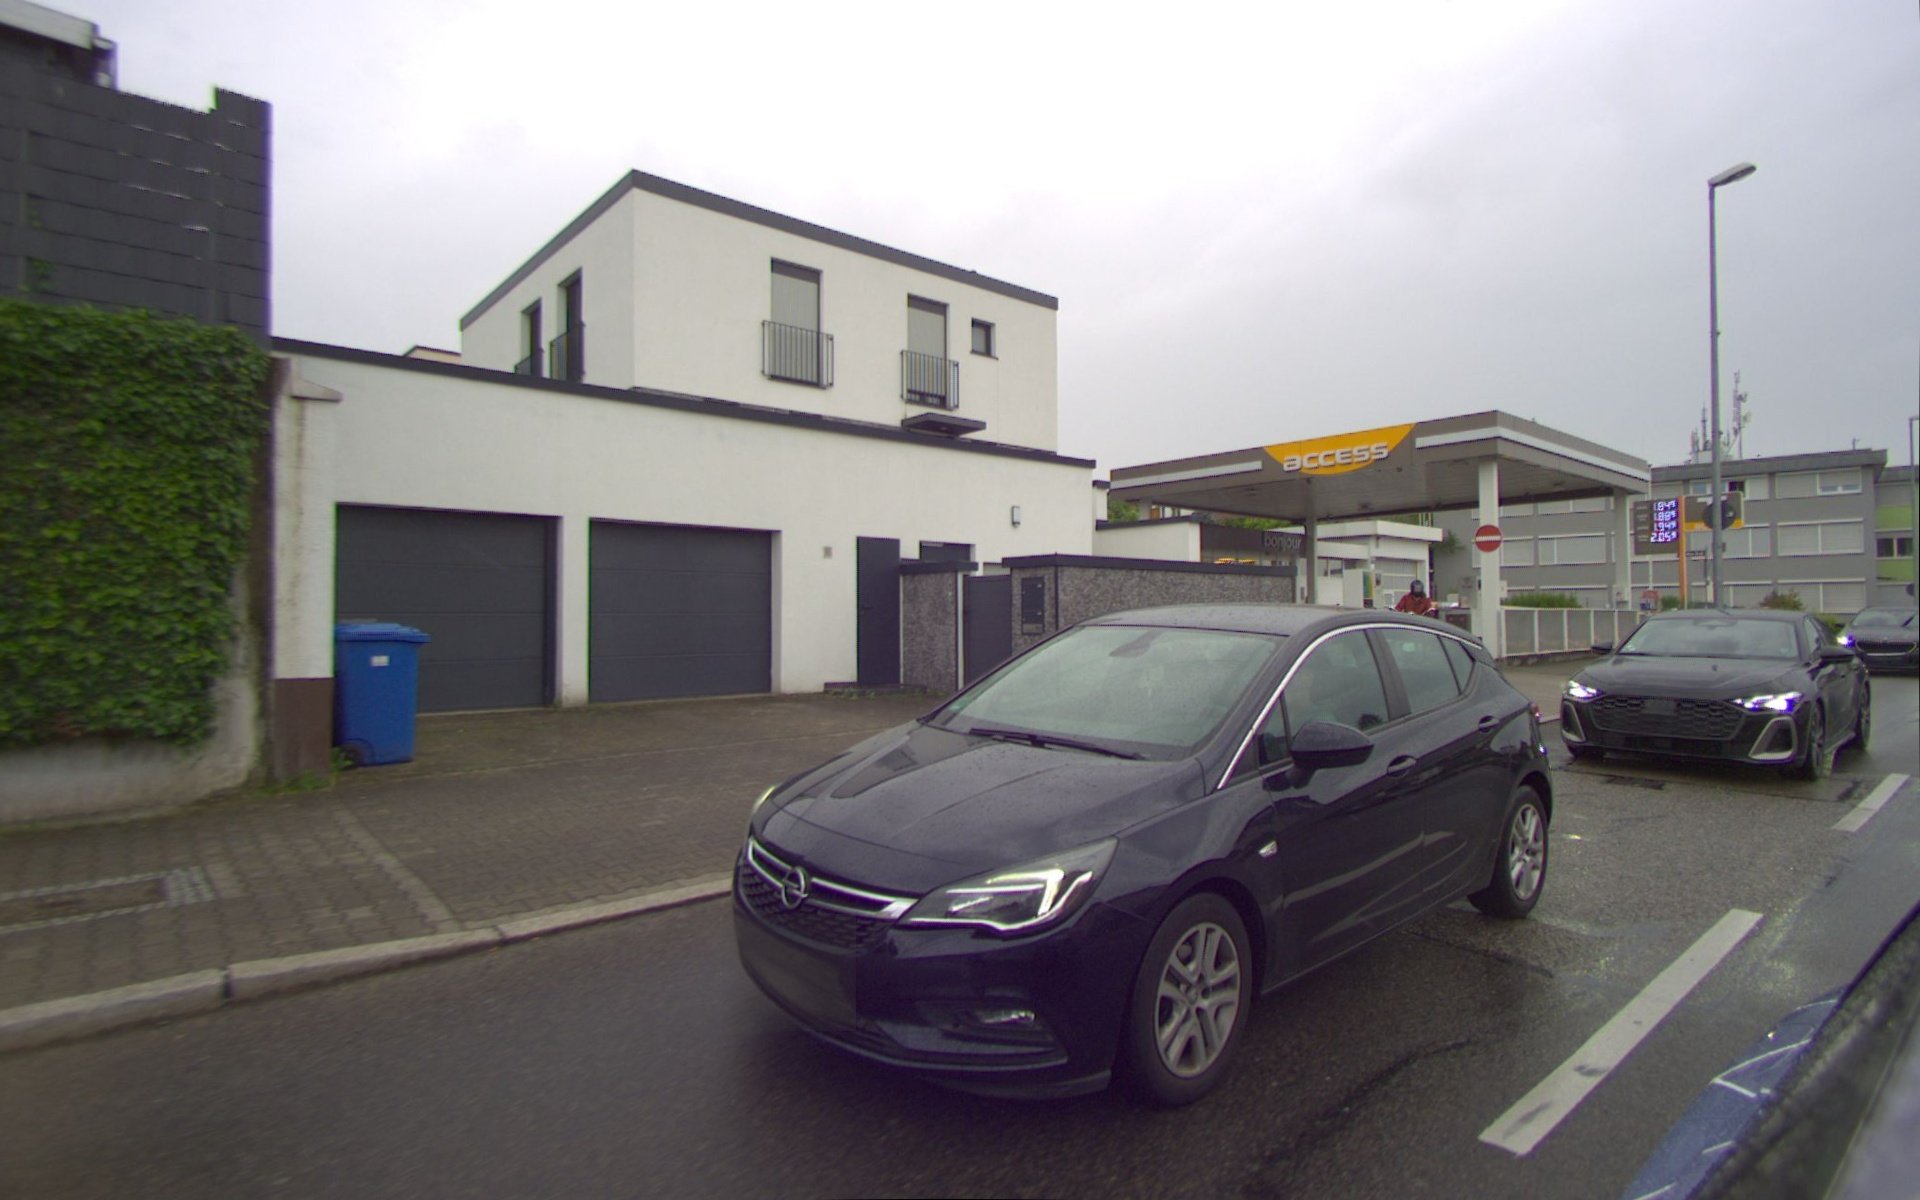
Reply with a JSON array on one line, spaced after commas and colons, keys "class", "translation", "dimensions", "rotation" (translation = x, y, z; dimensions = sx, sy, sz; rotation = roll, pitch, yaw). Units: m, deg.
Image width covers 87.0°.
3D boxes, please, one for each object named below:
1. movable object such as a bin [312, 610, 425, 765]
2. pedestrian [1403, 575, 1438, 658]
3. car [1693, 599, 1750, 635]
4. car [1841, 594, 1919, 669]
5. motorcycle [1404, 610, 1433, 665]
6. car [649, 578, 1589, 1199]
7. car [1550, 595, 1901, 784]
[{"class": "movable object such as a bin", "translation": [-4.629, 0.649, 7.919], "dimensions": [0.655, 1.118, 0.596], "rotation": [1, 2, -41]}, {"class": "pedestrian", "translation": [9.459, 0.334, 20.788], "dimensions": [0.606, 1.677, 0.580], "rotation": [-1, -1, 27]}, {"class": "car", "translation": [36.527, 0.785, 48.512], "dimensions": [1.809, 1.546, 3.940], "rotation": [4, 3, 41]}, {"class": "car", "translation": [20.876, 0.639, 22.126], "dimensions": [3.930, 1.538, 1.871], "rotation": [0, 0, -40]}, {"class": "motorcycle", "translation": [9.317, 0.736, 20.534], "dimensions": [0.459, 1.069, 1.377], "rotation": [-1, 0, 27]}, {"class": "car", "translation": [0.937, 0.681, 4.240], "dimensions": [3.929, 1.468, 1.759], "rotation": [0, 0, -40]}, {"class": "car", "translation": [7.696, 0.680, 9.988], "dimensions": [4.657, 1.442, 1.869], "rotation": [0, 0, -41]}]
